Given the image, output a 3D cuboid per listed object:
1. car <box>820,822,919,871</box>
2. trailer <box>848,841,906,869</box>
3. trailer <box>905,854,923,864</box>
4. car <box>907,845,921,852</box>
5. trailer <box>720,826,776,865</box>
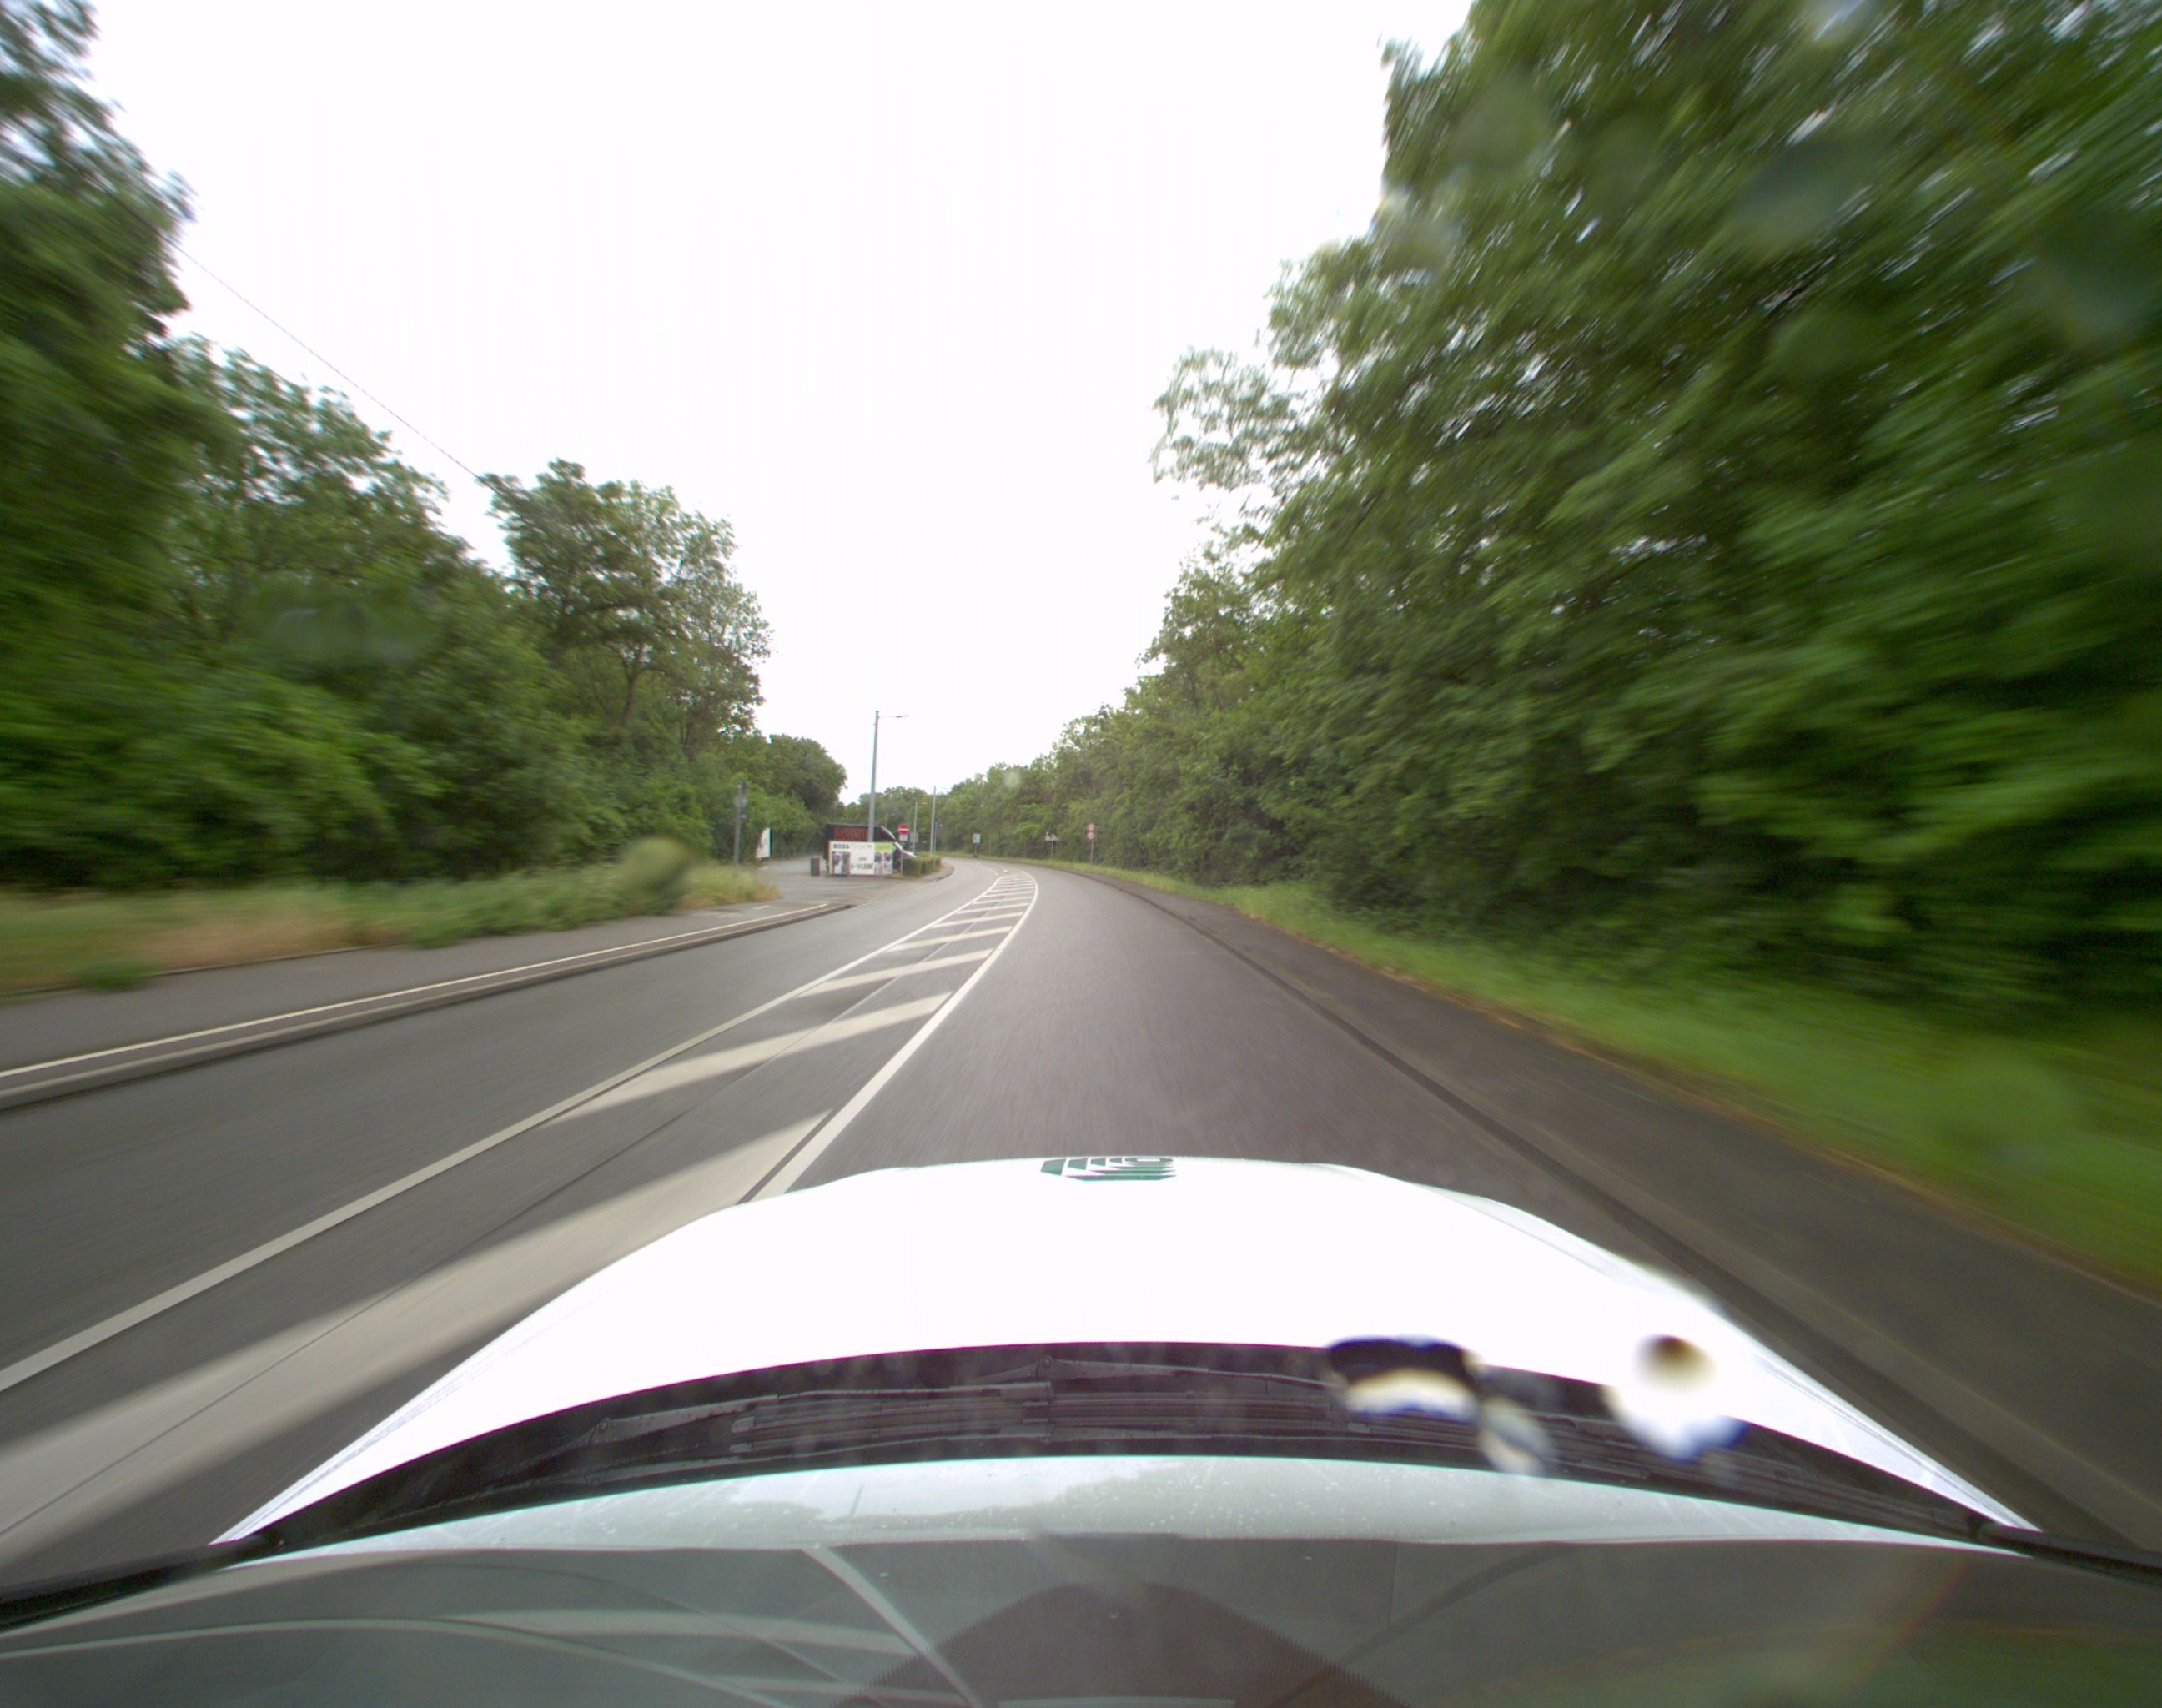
[{"bbox_3d":[-14.352,-0.476,55.725,6.273,3.113,2.742,1,-1,-11],"label":"car"},{"bbox_3d":[-15.270,0.104,61.073,3.984,2.053,1.868,0,0,-8],"label":"trailer"},{"bbox_3d":[-16.760,0.496,81.690,1.803,1.034,1.328,1,0,-14],"label":"trailer"},{"bbox_3d":[-37.289,-1.288,182.224,1.946,1.498,4.279,1,1,-28],"label":"car"},{"bbox_3d":[-26.367,-0.644,64.877,2.476,2.873,7.948,0,0,-10],"label":"trailer"}]
